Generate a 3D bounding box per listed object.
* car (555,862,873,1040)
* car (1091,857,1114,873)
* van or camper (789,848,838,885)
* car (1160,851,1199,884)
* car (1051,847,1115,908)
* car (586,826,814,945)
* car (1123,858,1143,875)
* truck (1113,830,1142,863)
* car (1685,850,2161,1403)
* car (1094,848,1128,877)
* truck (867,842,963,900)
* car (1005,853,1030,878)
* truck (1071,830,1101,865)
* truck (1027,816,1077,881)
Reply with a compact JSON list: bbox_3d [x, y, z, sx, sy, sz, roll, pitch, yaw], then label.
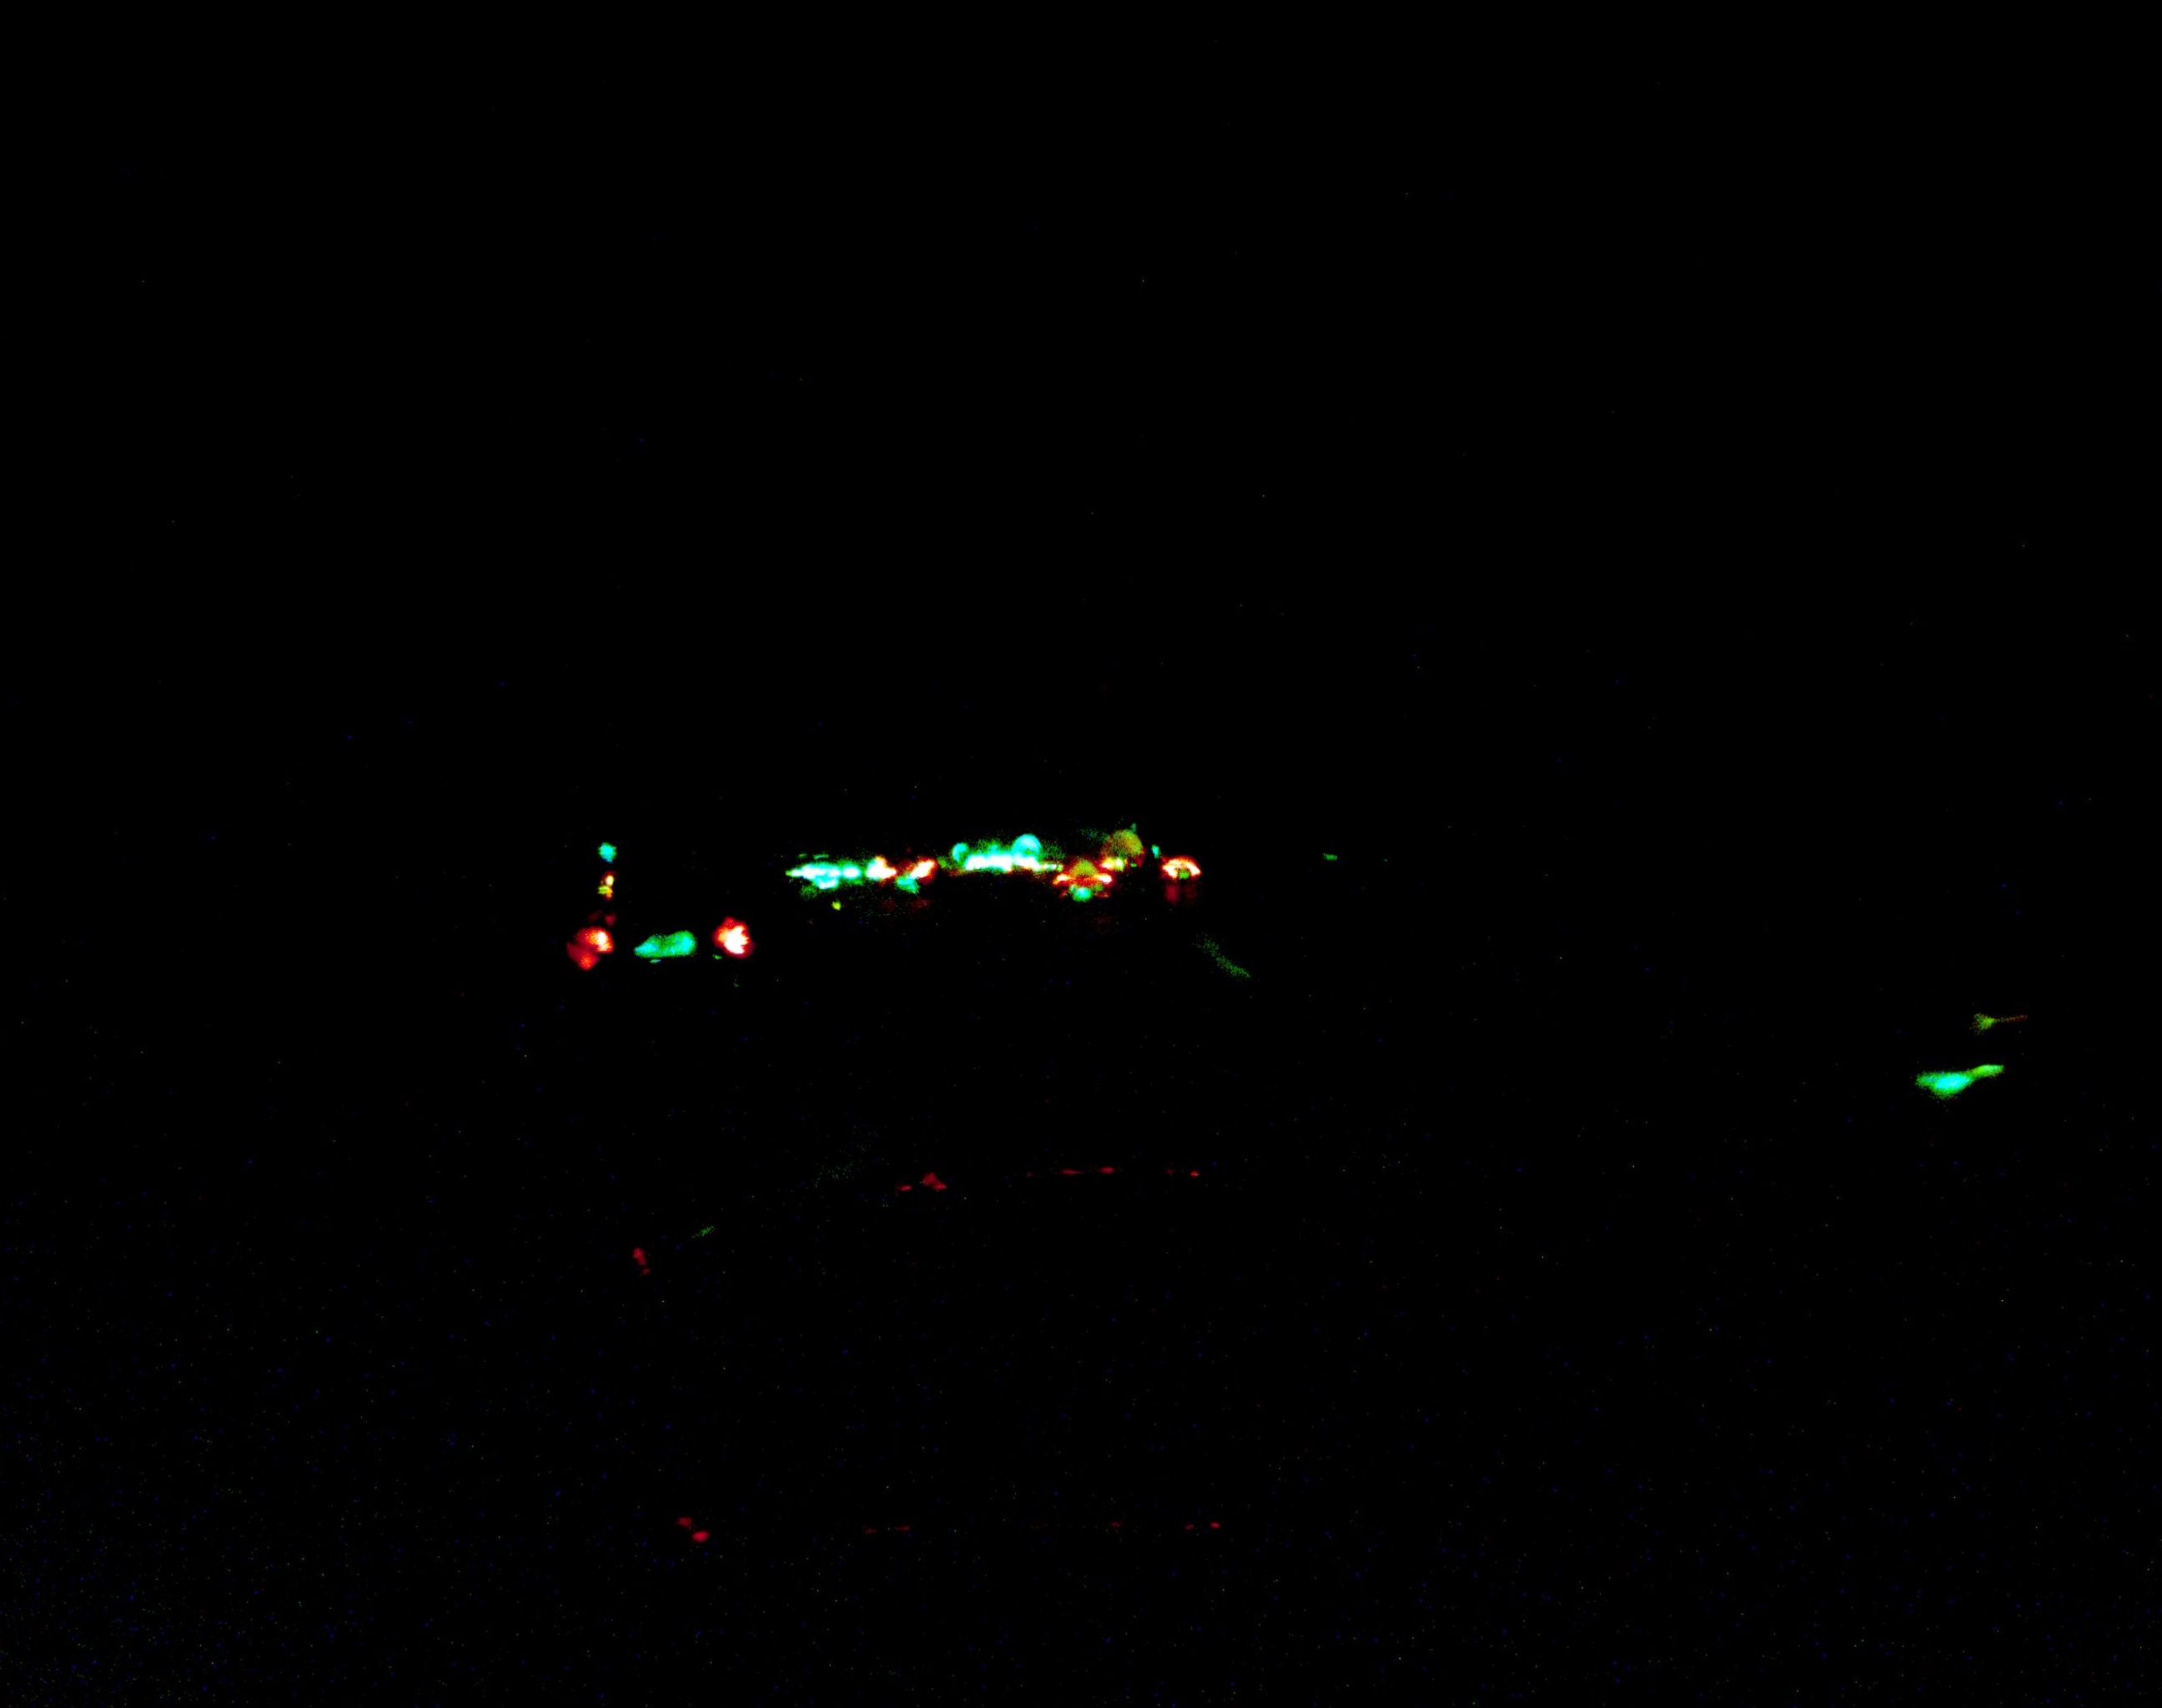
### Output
[{"bbox_3d":[-3.672,0.843,9.078,1.652,1.431,4.244,-1,0,-1],"label":"car"},{"bbox_3d":[2.856,1.421,105.621,2.822,2.014,5.513,0,-1,2],"label":"car"},{"bbox_3d":[-28.117,1.317,85.958,2.505,3.701,7.682,0,-1,2],"label":"van or camper"},{"bbox_3d":[5.407,0.733,45.064,1.870,1.762,4.002,0,-1,2],"label":"car"},{"bbox_3d":[0.131,0.657,24.746,1.758,1.689,4.003,-1,0,2],"label":"car"},{"bbox_3d":[-7.763,0.582,17.441,2.115,2.104,5.630,-1,0,1],"label":"car"},{"bbox_3d":[5.321,1.272,83.819,1.986,1.704,4.460,0,-1,2],"label":"car"},{"bbox_3d":[7.564,-1.102,134.855,4.149,5.215,9.949,0,-1,-1],"label":"truck"},{"bbox_3d":[3.740,0.722,1.838,1.763,1.457,4.197,-1,0,2],"label":"car"},{"bbox_3d":[1.865,0.532,51.288,2.031,1.761,4.517,0,-1,2],"label":"car"},{"bbox_3d":[-6.758,0.688,34.041,2.849,2.201,5.856,0,-1,-1],"label":"truck"},{"bbox_3d":[-6.004,1.059,76.675,2.260,2.273,5.376,0,-1,-5],"label":"car"},{"bbox_3d":[0.925,-0.961,131.011,4.236,5.444,10.893,0,-1,3],"label":"truck"},{"bbox_3d":[-2.278,-0.381,64.444,3.647,4.737,9.843,0,-1,-2],"label":"truck"}]
